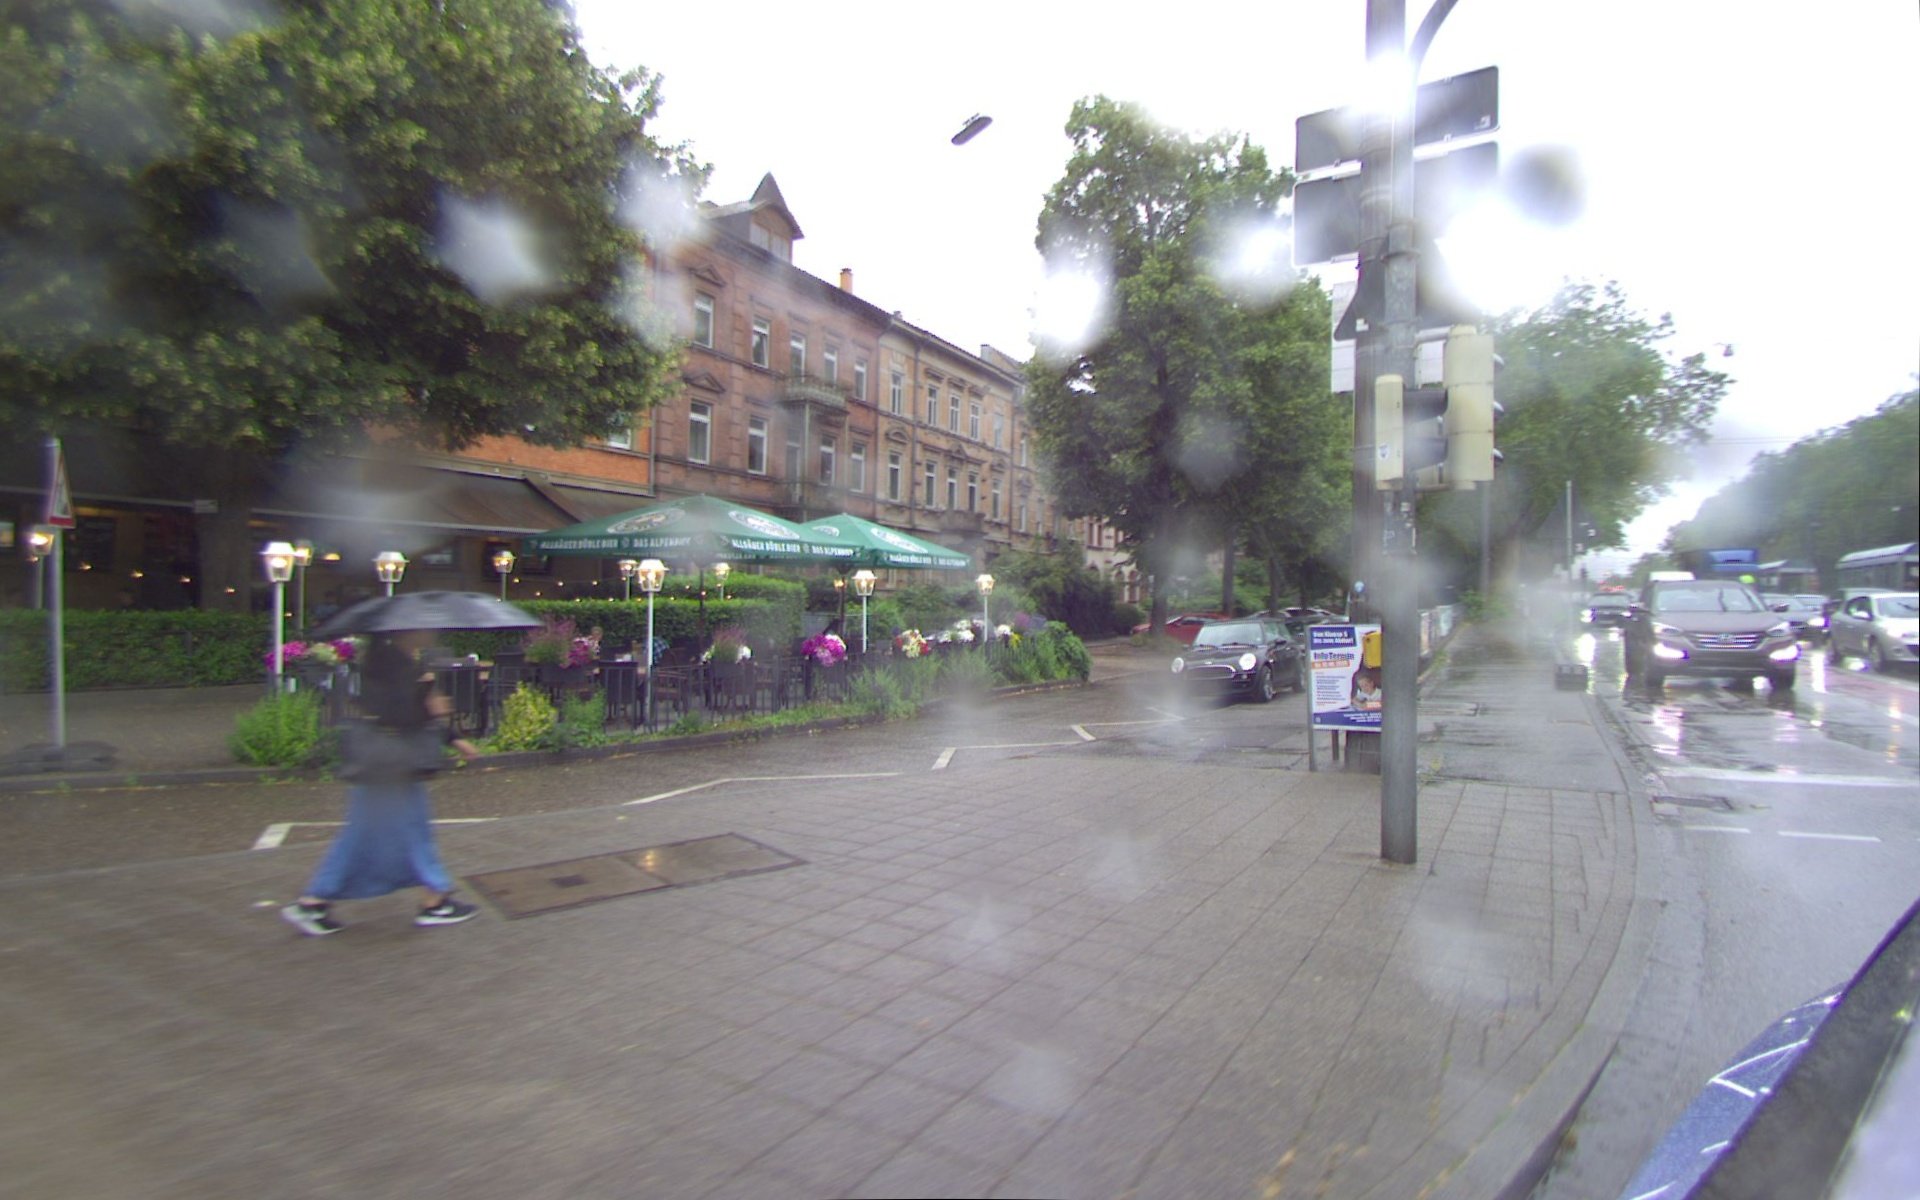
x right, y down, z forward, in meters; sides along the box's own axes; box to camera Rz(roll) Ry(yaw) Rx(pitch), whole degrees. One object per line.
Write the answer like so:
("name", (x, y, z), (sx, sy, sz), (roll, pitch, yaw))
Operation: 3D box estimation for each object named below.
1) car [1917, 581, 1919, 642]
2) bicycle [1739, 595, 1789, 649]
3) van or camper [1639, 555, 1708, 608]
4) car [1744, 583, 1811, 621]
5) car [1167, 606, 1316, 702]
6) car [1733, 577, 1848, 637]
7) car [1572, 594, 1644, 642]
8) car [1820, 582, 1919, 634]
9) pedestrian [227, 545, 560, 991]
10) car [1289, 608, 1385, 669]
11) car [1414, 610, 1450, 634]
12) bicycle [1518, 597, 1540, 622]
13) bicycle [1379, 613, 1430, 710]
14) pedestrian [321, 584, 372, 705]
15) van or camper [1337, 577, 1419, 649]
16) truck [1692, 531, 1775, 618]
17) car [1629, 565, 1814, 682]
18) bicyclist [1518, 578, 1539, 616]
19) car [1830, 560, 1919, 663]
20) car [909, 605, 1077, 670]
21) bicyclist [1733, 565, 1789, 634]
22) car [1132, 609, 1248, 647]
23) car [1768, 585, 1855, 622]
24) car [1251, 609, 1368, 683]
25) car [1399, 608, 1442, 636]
("car", (25.676, 0.281, 25.207), (1.835, 1.655, 4.198), (-1, -1, 32))
("bicycle", (17.845, 0.474, 22.470), (0.815, 1.102, 1.970), (-2, 0, 39))
("van or camper", (35.889, -0.861, 51.063), (2.125, 2.531, 5.655), (-1, -1, 28))
("car", (37.415, 0.104, 46.421), (1.900, 1.668, 4.141), (-1, -1, 33))
("car", (5.077, 0.885, 17.968), (1.639, 1.519, 3.476), (-1, -1, 32))
("car", (23.429, 0.208, 28.723), (1.899, 1.569, 4.613), (-1, -1, 32))
("car", (24.939, 0.666, 39.106), (1.960, 1.709, 4.645), (0, 0, 28))
("car", (31.460, 0.281, 34.899), (1.897, 1.668, 4.147), (-1, -1, 29))
("pedestrian", (-2.402, 0.641, 4.483), (0.977, 1.688, 1.108), (0, -1, -11))
("car", (10.188, 0.969, 27.179), (1.718, 1.488, 4.170), (-1, -1, 30))
("car", (30.193, 1.374, 64.683), (1.795, 1.473, 3.957), (0, -1, 30))
("bicycle", (25.682, 0.418, 45.701), (0.733, 1.086, 1.850), (1, 0, 26))
("bicycle", (5.801, 0.761, 13.175), (0.419, 1.183, 1.775), (-2, -2, 28))
("pedestrian", (-8.719, 0.611, 14.381), (0.546, 1.665, 0.384), (2, 0, 32))
("van or camper", (16.602, 0.504, 40.012), (2.313, 2.624, 6.033), (0, -1, 29))
("truck", (41.680, -1.226, 54.777), (2.398, 4.332, 8.263), (-1, -1, 30))
("car", (12.519, 0.363, 16.941), (1.898, 1.668, 4.629), (-1, -1, 30))
("bicyclist", (25.716, -0.126, 45.769), (0.730, 1.677, 0.870), (0, -1, 25))
("car", (18.141, 0.210, 18.895), (1.959, 1.764, 4.224), (-1, -1, 28))
("car", (0.745, 0.904, 25.026), (3.919, 1.527, 1.863), (0, -1, -6))
("bicyclist", (17.763, -0.015, 22.452), (0.923, 1.488, 0.794), (-2, 0, 39))
("car", (9.118, 1.095, 40.407), (4.204, 1.488, 1.710), (0, -1, -1))
("car", (34.527, 0.164, 41.169), (1.897, 1.426, 4.147), (-1, -1, 29))
("car", (7.904, 0.951, 22.670), (1.737, 1.482, 4.171), (-1, -1, 30))
("car", (24.633, 1.143, 54.043), (1.690, 1.389, 3.958), (-2, -1, 30))
